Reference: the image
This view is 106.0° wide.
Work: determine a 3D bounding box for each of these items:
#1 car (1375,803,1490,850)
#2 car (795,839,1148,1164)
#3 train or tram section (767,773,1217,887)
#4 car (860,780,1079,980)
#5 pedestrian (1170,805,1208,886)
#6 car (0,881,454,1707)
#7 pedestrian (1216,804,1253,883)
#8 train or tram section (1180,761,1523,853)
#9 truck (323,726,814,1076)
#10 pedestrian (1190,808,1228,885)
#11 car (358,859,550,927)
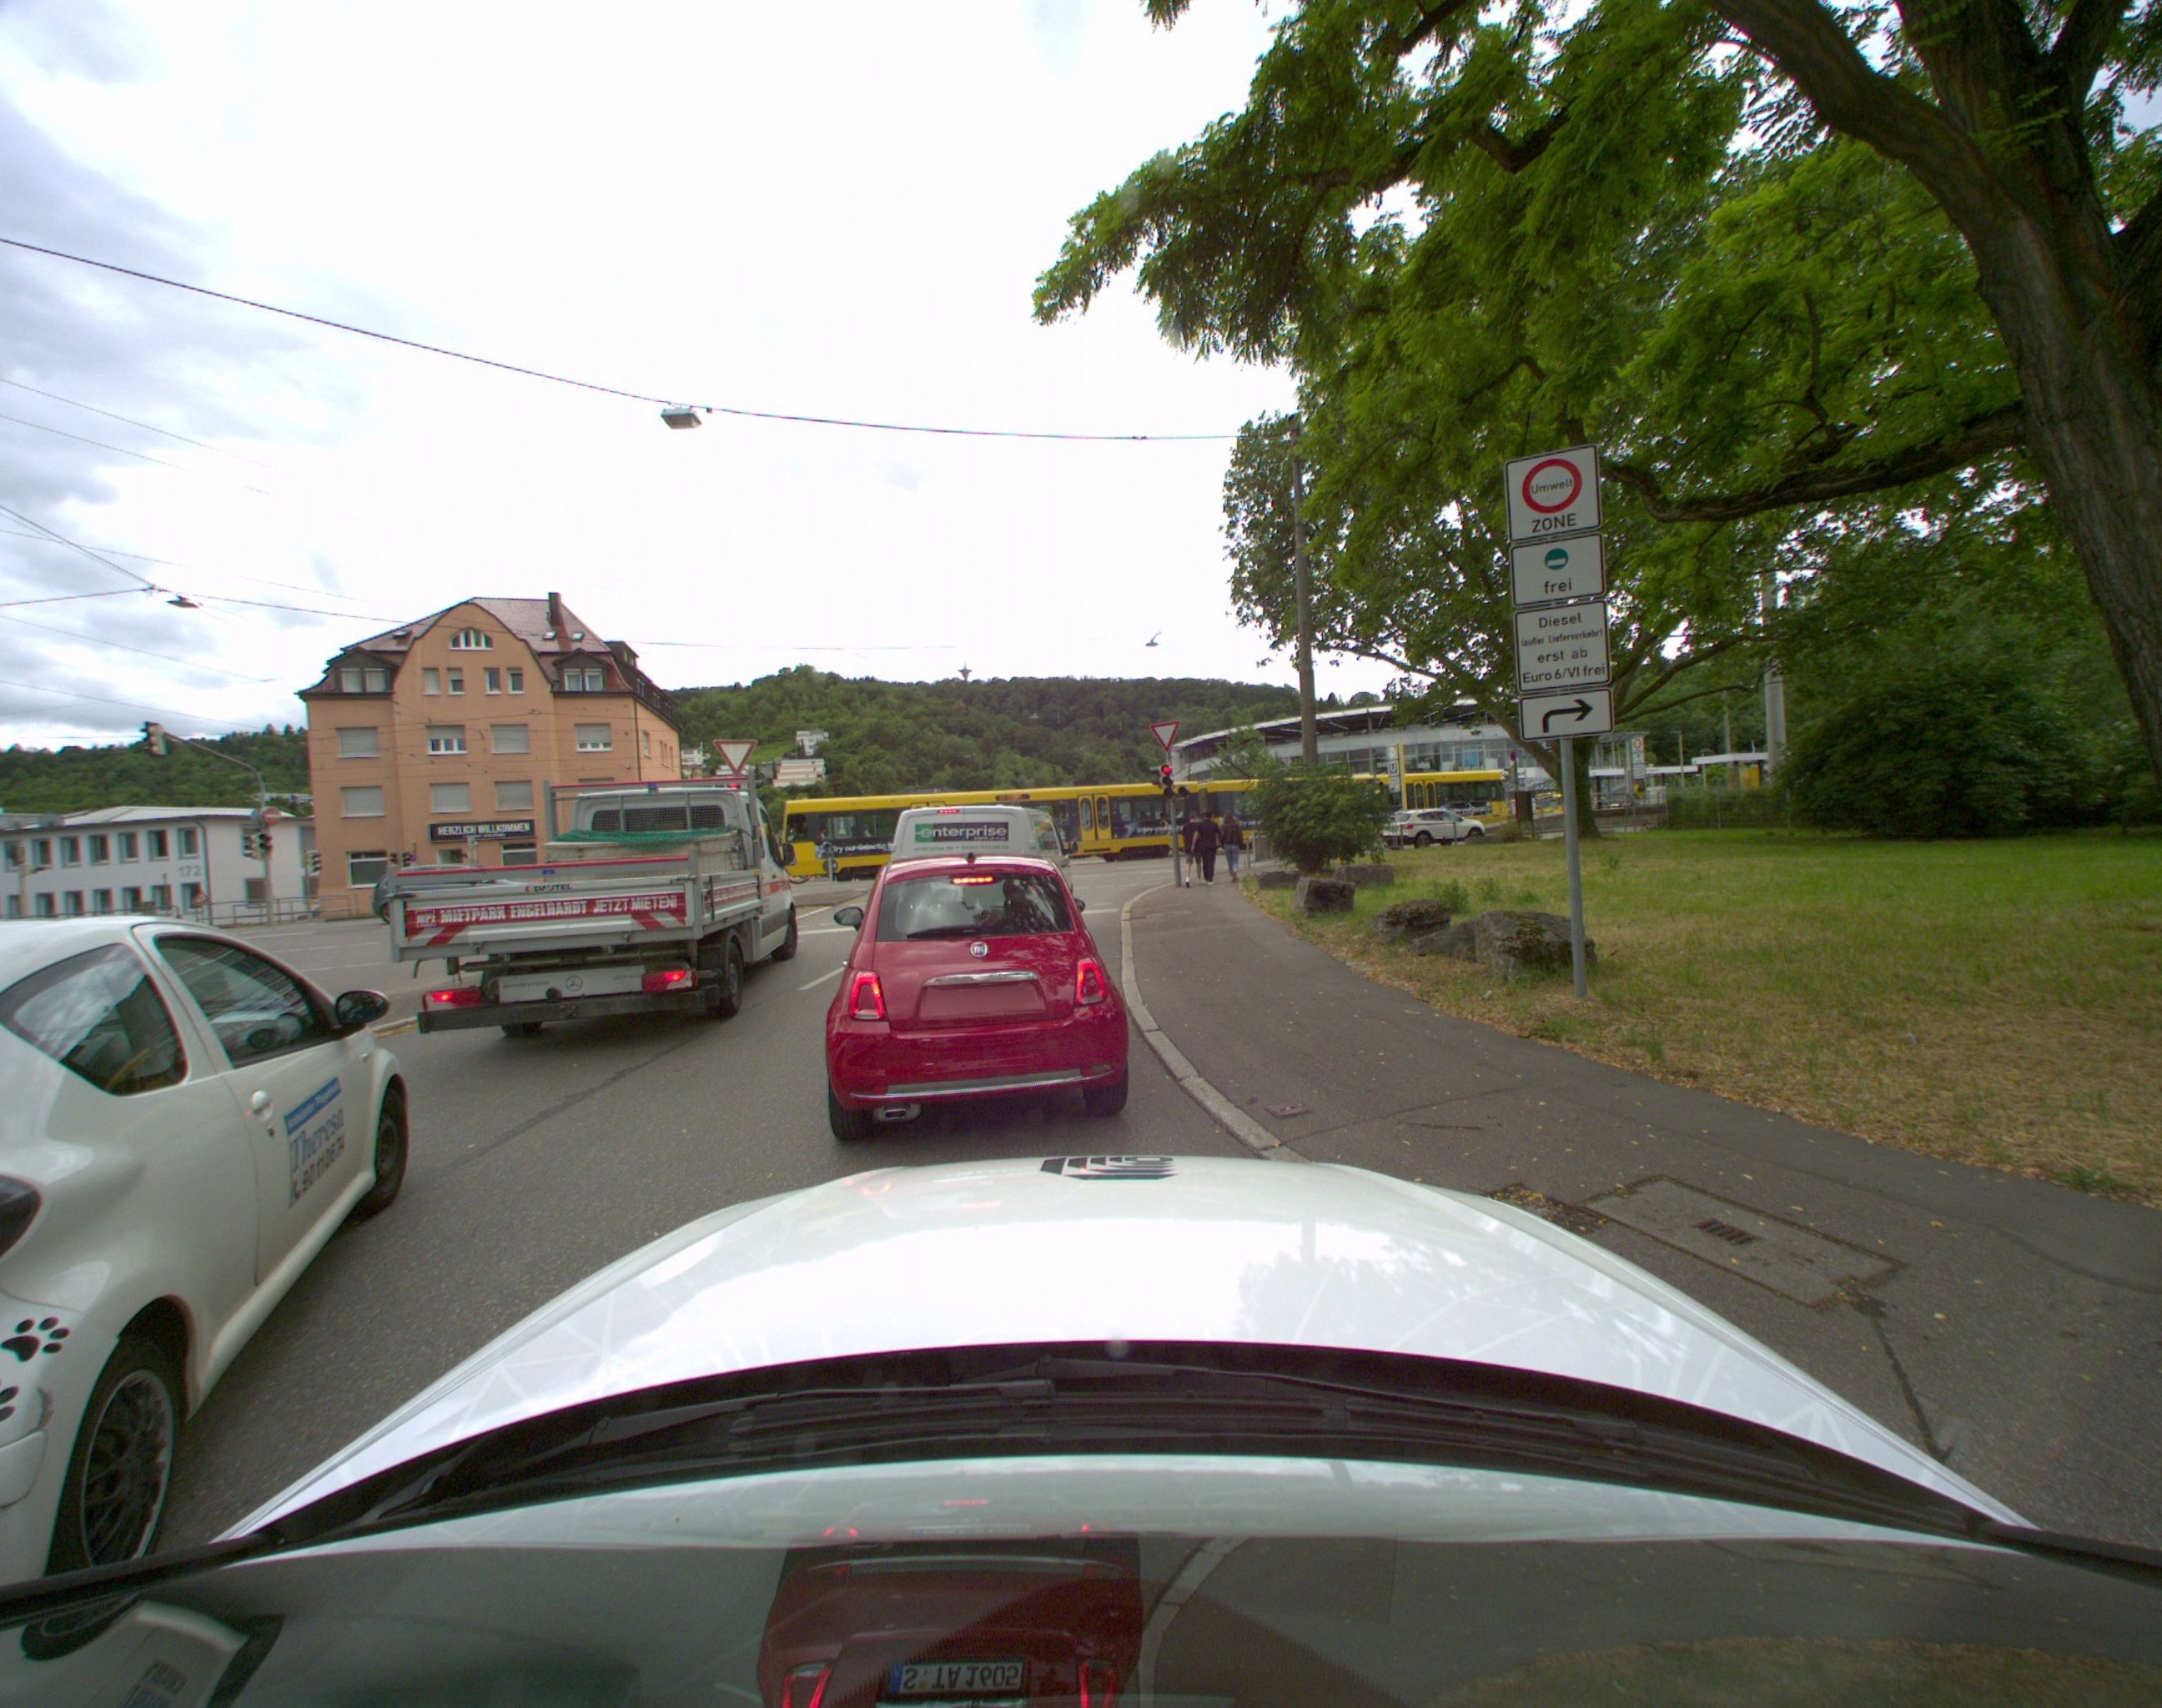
[{"bbox_3d":[14.061,-1.101,32.595,4.129,1.584,1.790,-4,1,-21],"label":"car"},{"bbox_3d":[-0.767,0.683,5.674,1.638,1.456,3.420,-3,1,-9],"label":"car"},{"bbox_3d":[-3.424,-1.219,36.074,19.165,3.665,3.258,-4,1,-18],"label":"train or tram section"},{"bbox_3d":[-1.260,0.241,11.516,1.981,2.106,4.767,-4,1,4],"label":"car"},{"bbox_3d":[2.576,-0.211,19.412,0.688,1.857,0.791,-4,1,14],"label":"pedestrian"},{"bbox_3d":[-3.298,0.885,2.472,1.649,1.432,3.398,-5,1,-30],"label":"car"},{"bbox_3d":[3.540,-0.243,18.719,0.688,1.739,0.791,-4,1,12],"label":"pedestrian"},{"bbox_3d":[14.533,-2.557,42.522,19.184,3.665,3.255,-4,1,-21],"label":"train or tram section"},{"bbox_3d":[-4.699,0.289,9.009,2.423,2.397,6.006,-4,1,-11],"label":"truck"},{"bbox_3d":[2.971,-0.180,18.871,0.688,1.714,0.791,-4,1,14],"label":"pedestrian"},{"bbox_3d":[-18.036,1.072,23.627,3.880,1.584,1.795,-4,1,-13],"label":"car"}]
